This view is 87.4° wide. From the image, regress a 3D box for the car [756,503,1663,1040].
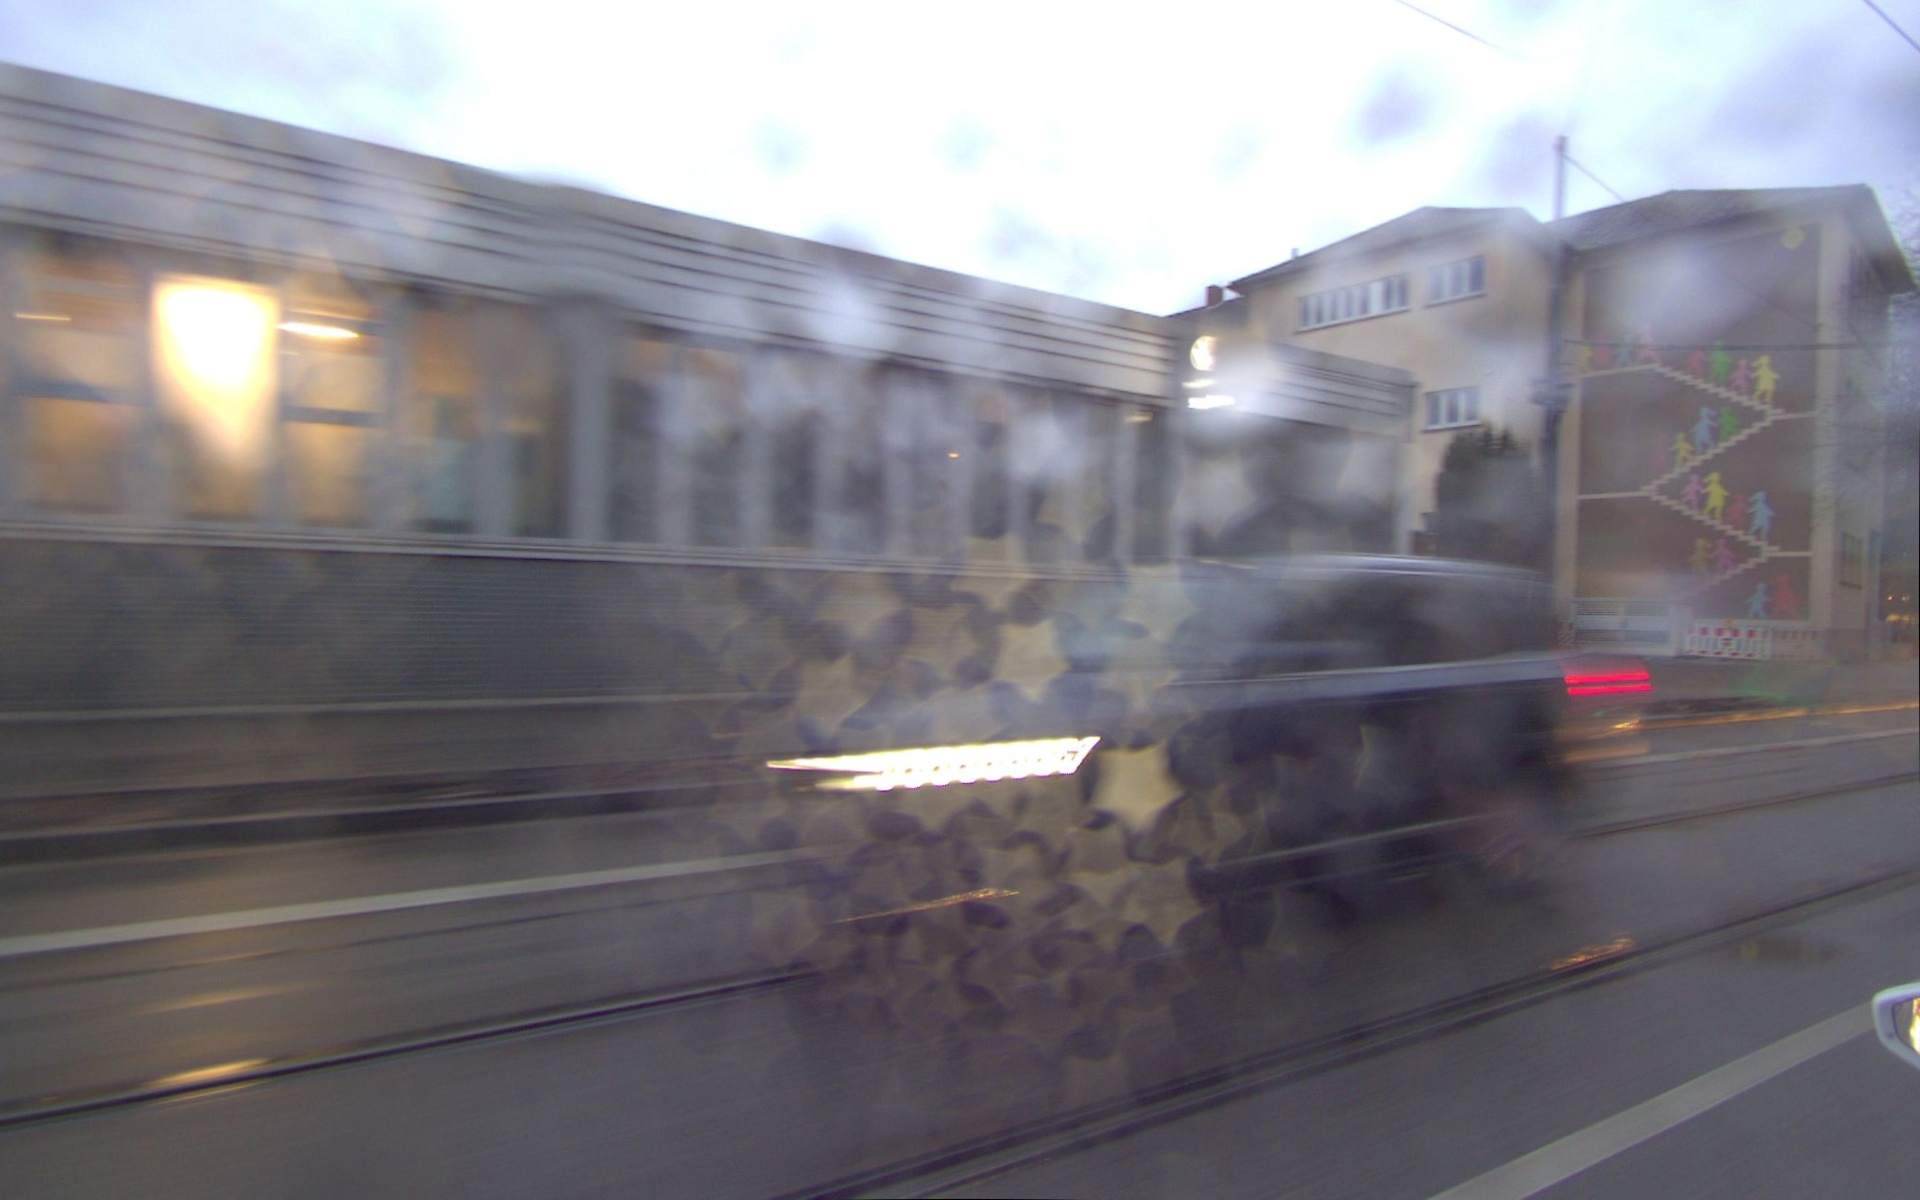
[{"bbox_3d":[1.504,0.605,5.278,4.706,1.732,1.866,1,-1,-31],"label":"car"}]
